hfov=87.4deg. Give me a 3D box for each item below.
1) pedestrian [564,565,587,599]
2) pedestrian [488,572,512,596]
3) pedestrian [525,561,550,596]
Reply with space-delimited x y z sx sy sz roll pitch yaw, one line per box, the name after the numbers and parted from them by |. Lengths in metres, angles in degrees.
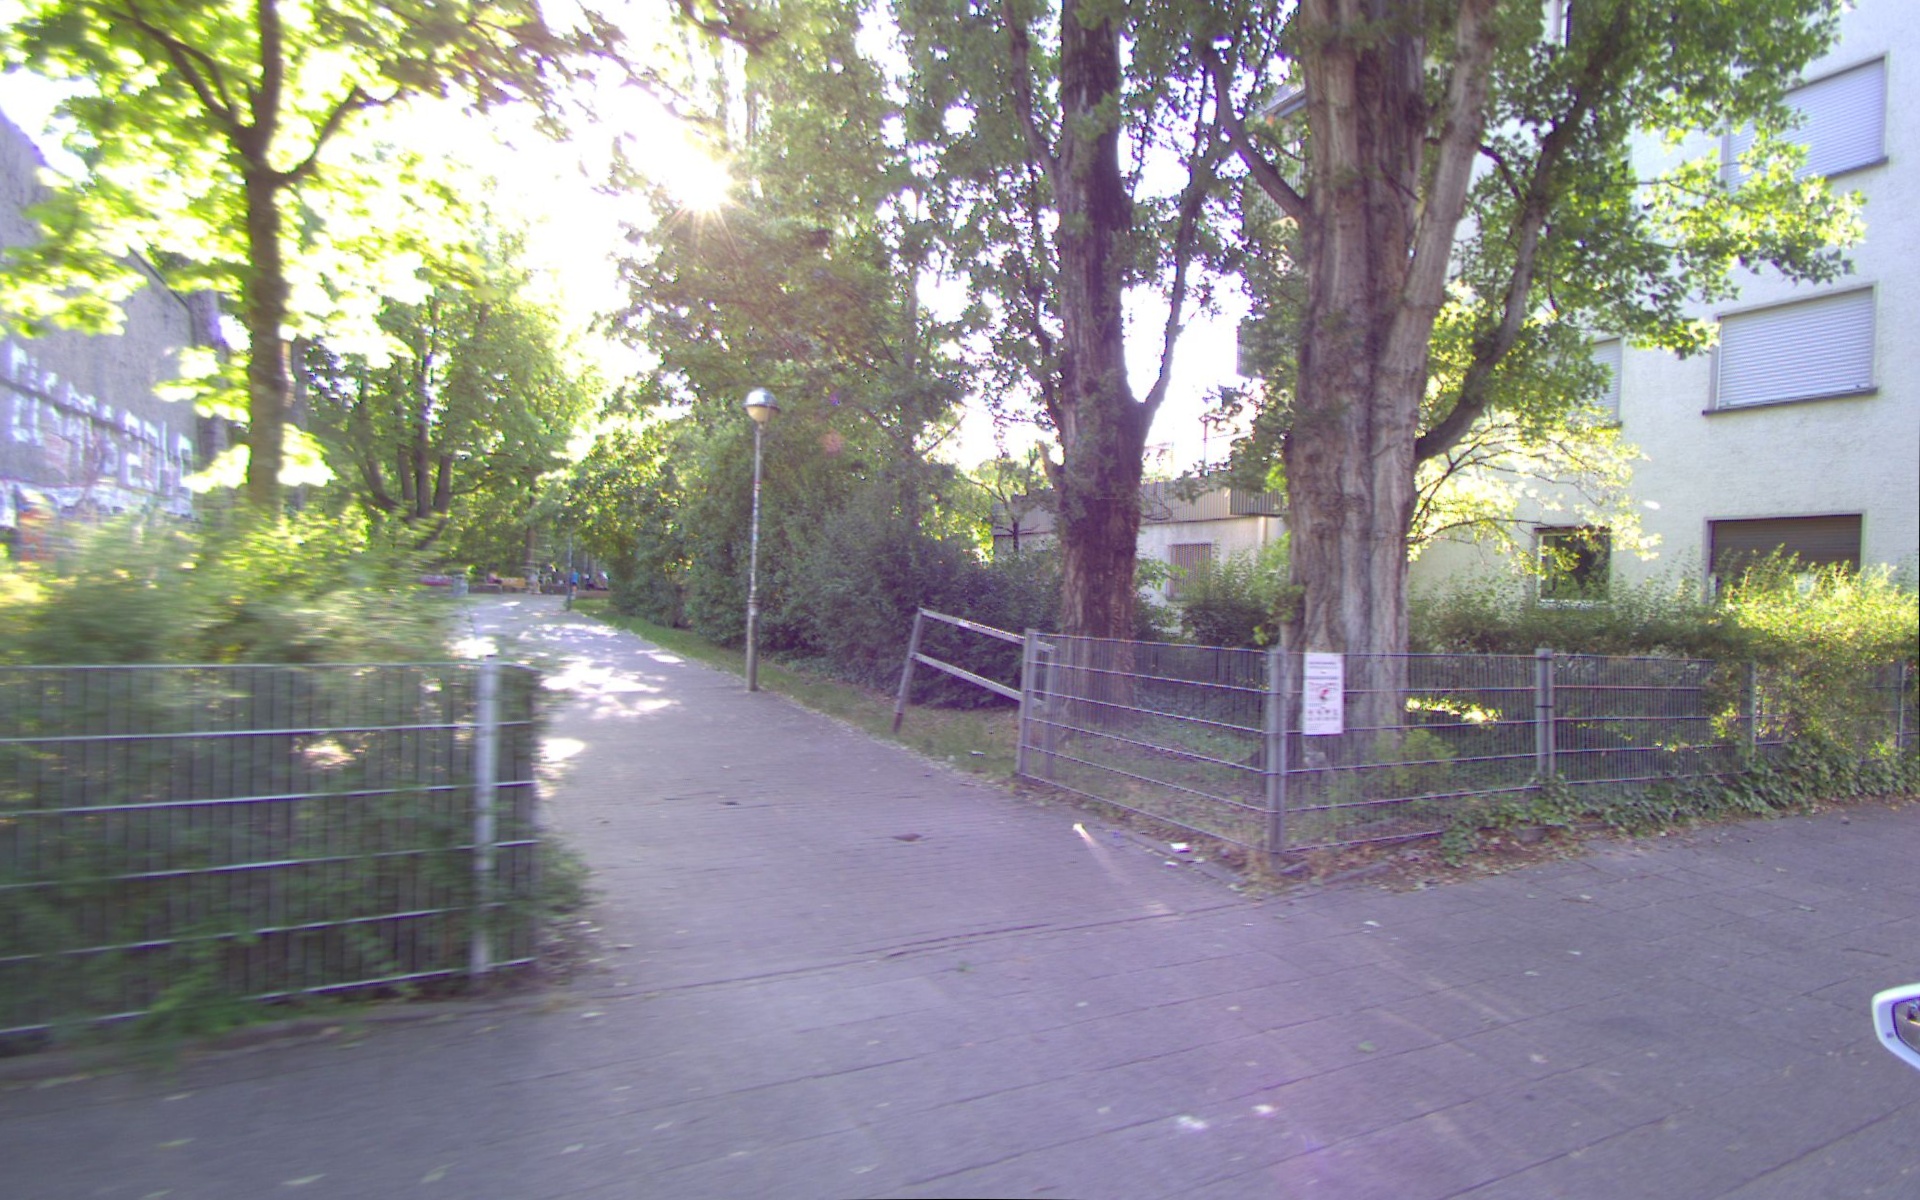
-18.907 -0.890 49.395 0.753 1.603 0.766 3 1 37 | pedestrian
-21.784 -0.749 47.556 0.753 1.105 0.766 3 1 37 | pedestrian
-19.691 -1.012 46.823 0.753 1.603 0.766 3 1 37 | pedestrian
